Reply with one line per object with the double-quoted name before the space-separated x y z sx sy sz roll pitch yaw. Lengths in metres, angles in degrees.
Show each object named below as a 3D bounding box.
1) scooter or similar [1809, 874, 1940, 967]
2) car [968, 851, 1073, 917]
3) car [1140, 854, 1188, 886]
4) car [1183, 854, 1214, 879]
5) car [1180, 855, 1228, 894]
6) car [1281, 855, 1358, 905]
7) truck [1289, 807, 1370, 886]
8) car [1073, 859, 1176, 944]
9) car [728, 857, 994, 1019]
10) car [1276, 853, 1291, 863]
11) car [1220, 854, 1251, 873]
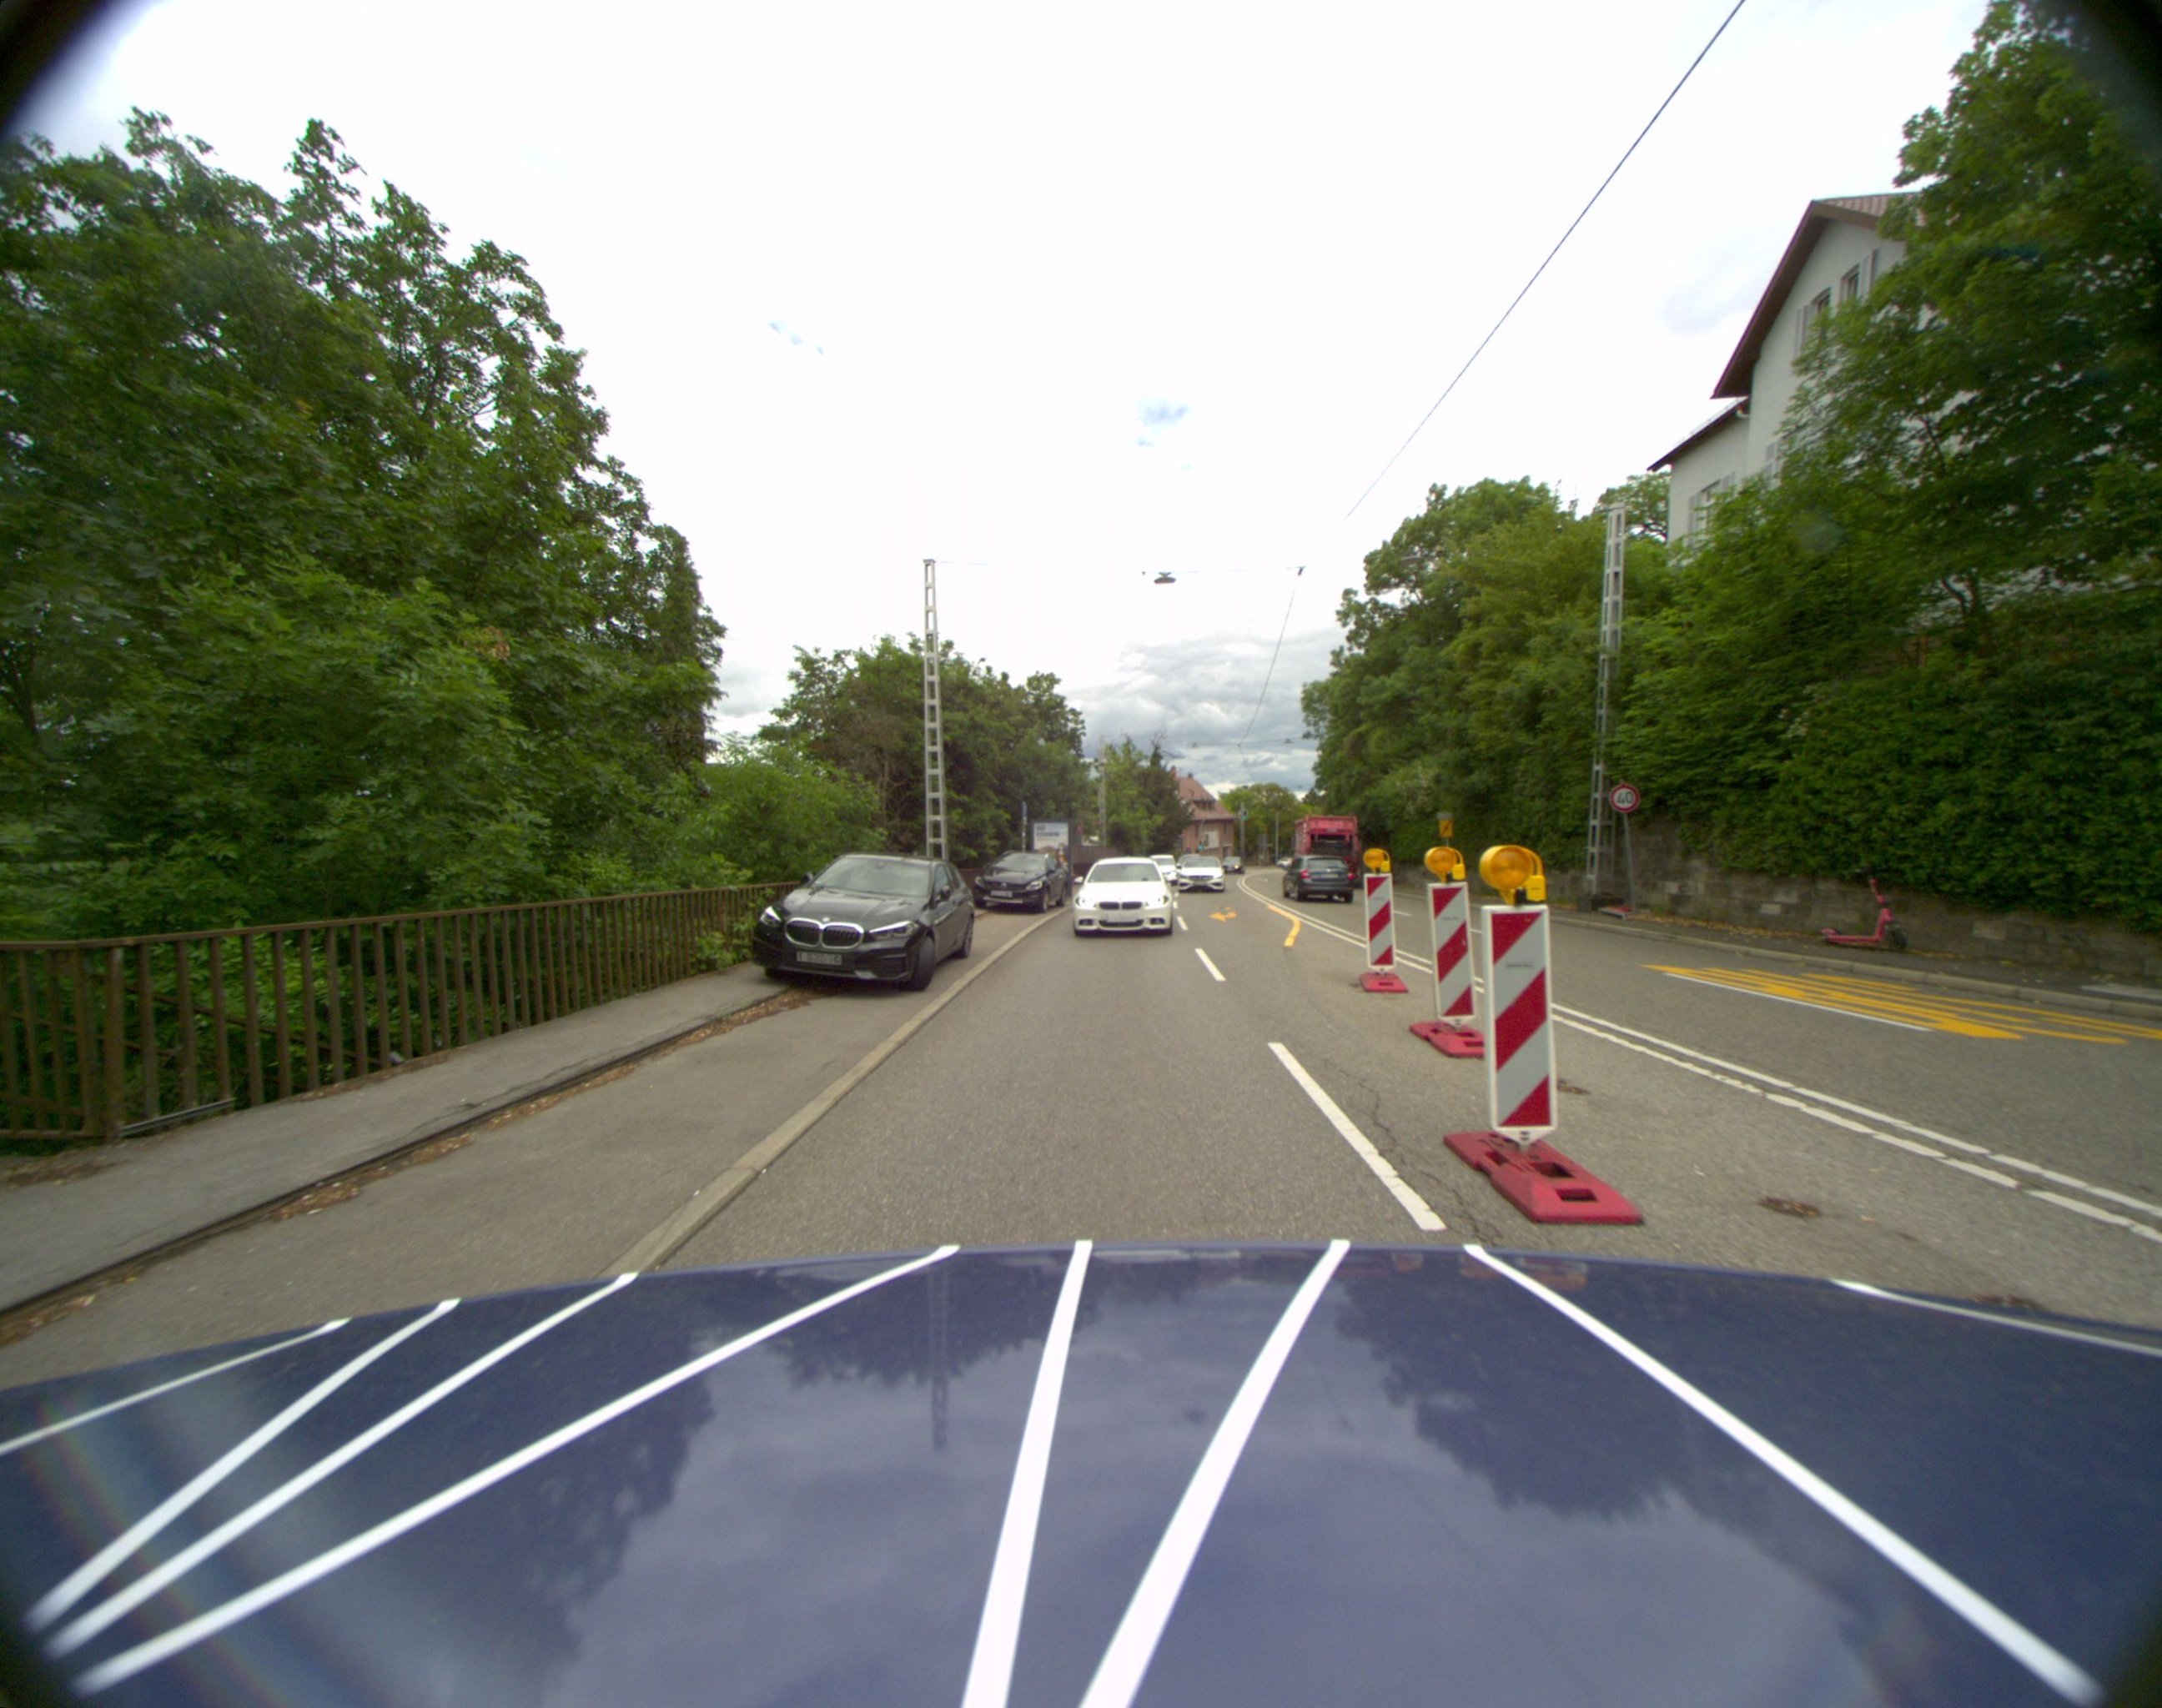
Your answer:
"scooter or similar" 11.419 0.921 10.981 0.429 1.202 1.281 -3 1 -7
"car" -1.499 0.724 20.598 1.856 1.525 4.235 2 1 9
"car" 4.431 0.797 39.951 1.790 1.542 4.249 -2 0 16
"car" 7.468 0.741 48.062 1.797 1.501 4.003 0 0 11
"car" 5.019 0.781 31.109 1.791 1.472 4.248 -1 0 9
"car" 7.583 0.763 24.502 1.717 1.452 4.002 1 0 8
"truck" 13.084 -0.370 40.828 2.864 3.677 9.666 3 1 11
"car" 0.940 0.863 15.501 1.791 1.472 4.246 -1 0 5
"car" -2.411 0.827 9.584 1.858 1.427 4.233 4 0 3
"car" 32.051 0.642 120.008 1.789 1.472 4.251 -2 0 22
"car" 13.063 0.758 64.211 1.789 1.472 4.251 -2 0 22
